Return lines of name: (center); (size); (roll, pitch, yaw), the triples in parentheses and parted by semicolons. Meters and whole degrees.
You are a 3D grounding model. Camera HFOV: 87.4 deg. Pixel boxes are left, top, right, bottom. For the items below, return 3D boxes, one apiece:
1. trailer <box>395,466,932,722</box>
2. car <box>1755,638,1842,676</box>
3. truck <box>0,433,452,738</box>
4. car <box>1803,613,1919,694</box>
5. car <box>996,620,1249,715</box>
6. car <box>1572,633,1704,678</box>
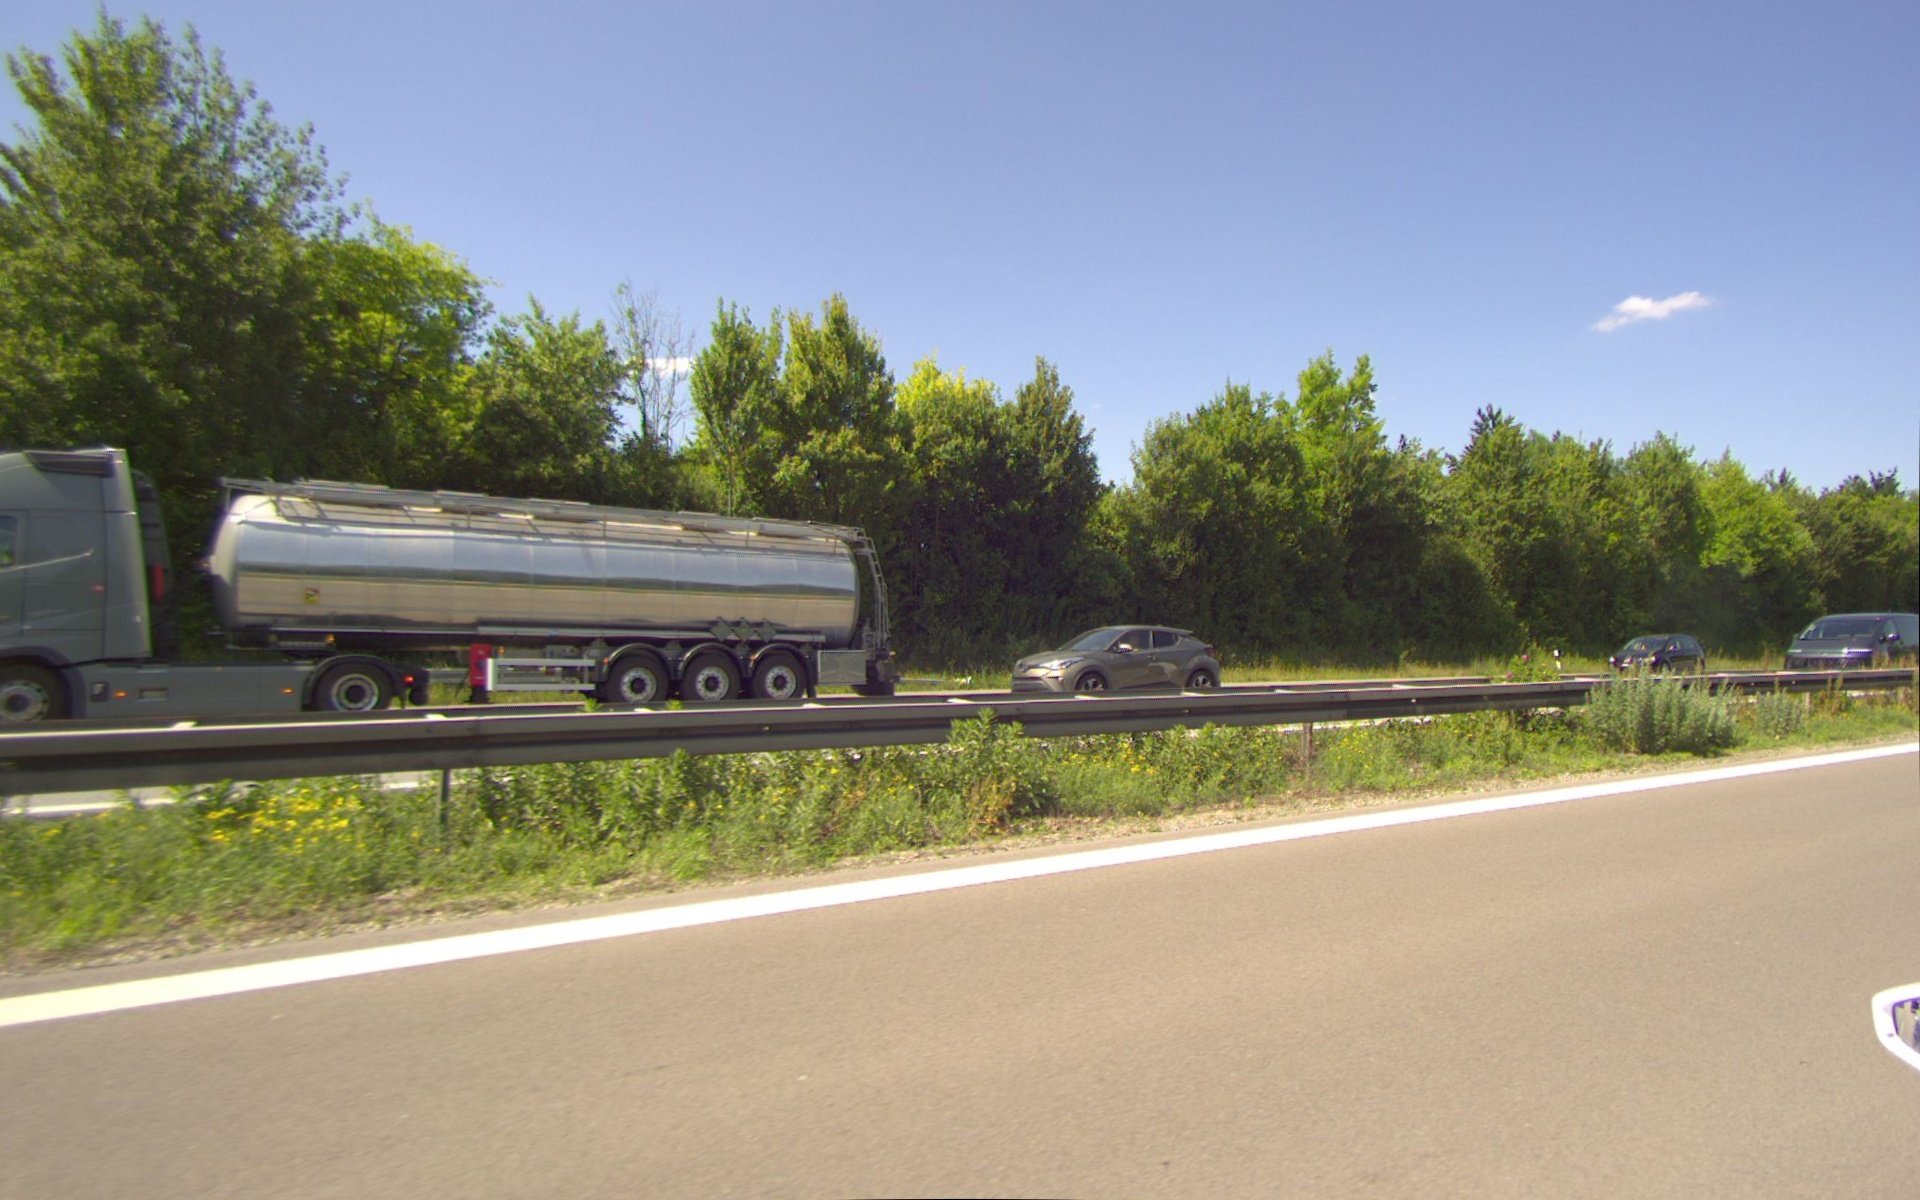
trailer: (-5.265, 0.078, 19.022); (9.351, 3.932, 2.752); (1, -4, -32)
car: (37.625, 2.561, 45.041); (3.951, 1.649, 1.703); (2, -2, -29)
truck: (-11.332, -0.071, 15.214); (6.252, 3.932, 2.717); (1, -4, -32)
car: (25.414, 1.431, 27.587); (4.595, 2.040, 1.985); (1, -2, -29)
car: (3.124, 1.222, 19.047); (4.575, 1.610, 1.880); (1, -2, -29)
car: (24.494, 1.972, 36.242); (4.871, 1.500, 1.985); (1, -2, -29)
